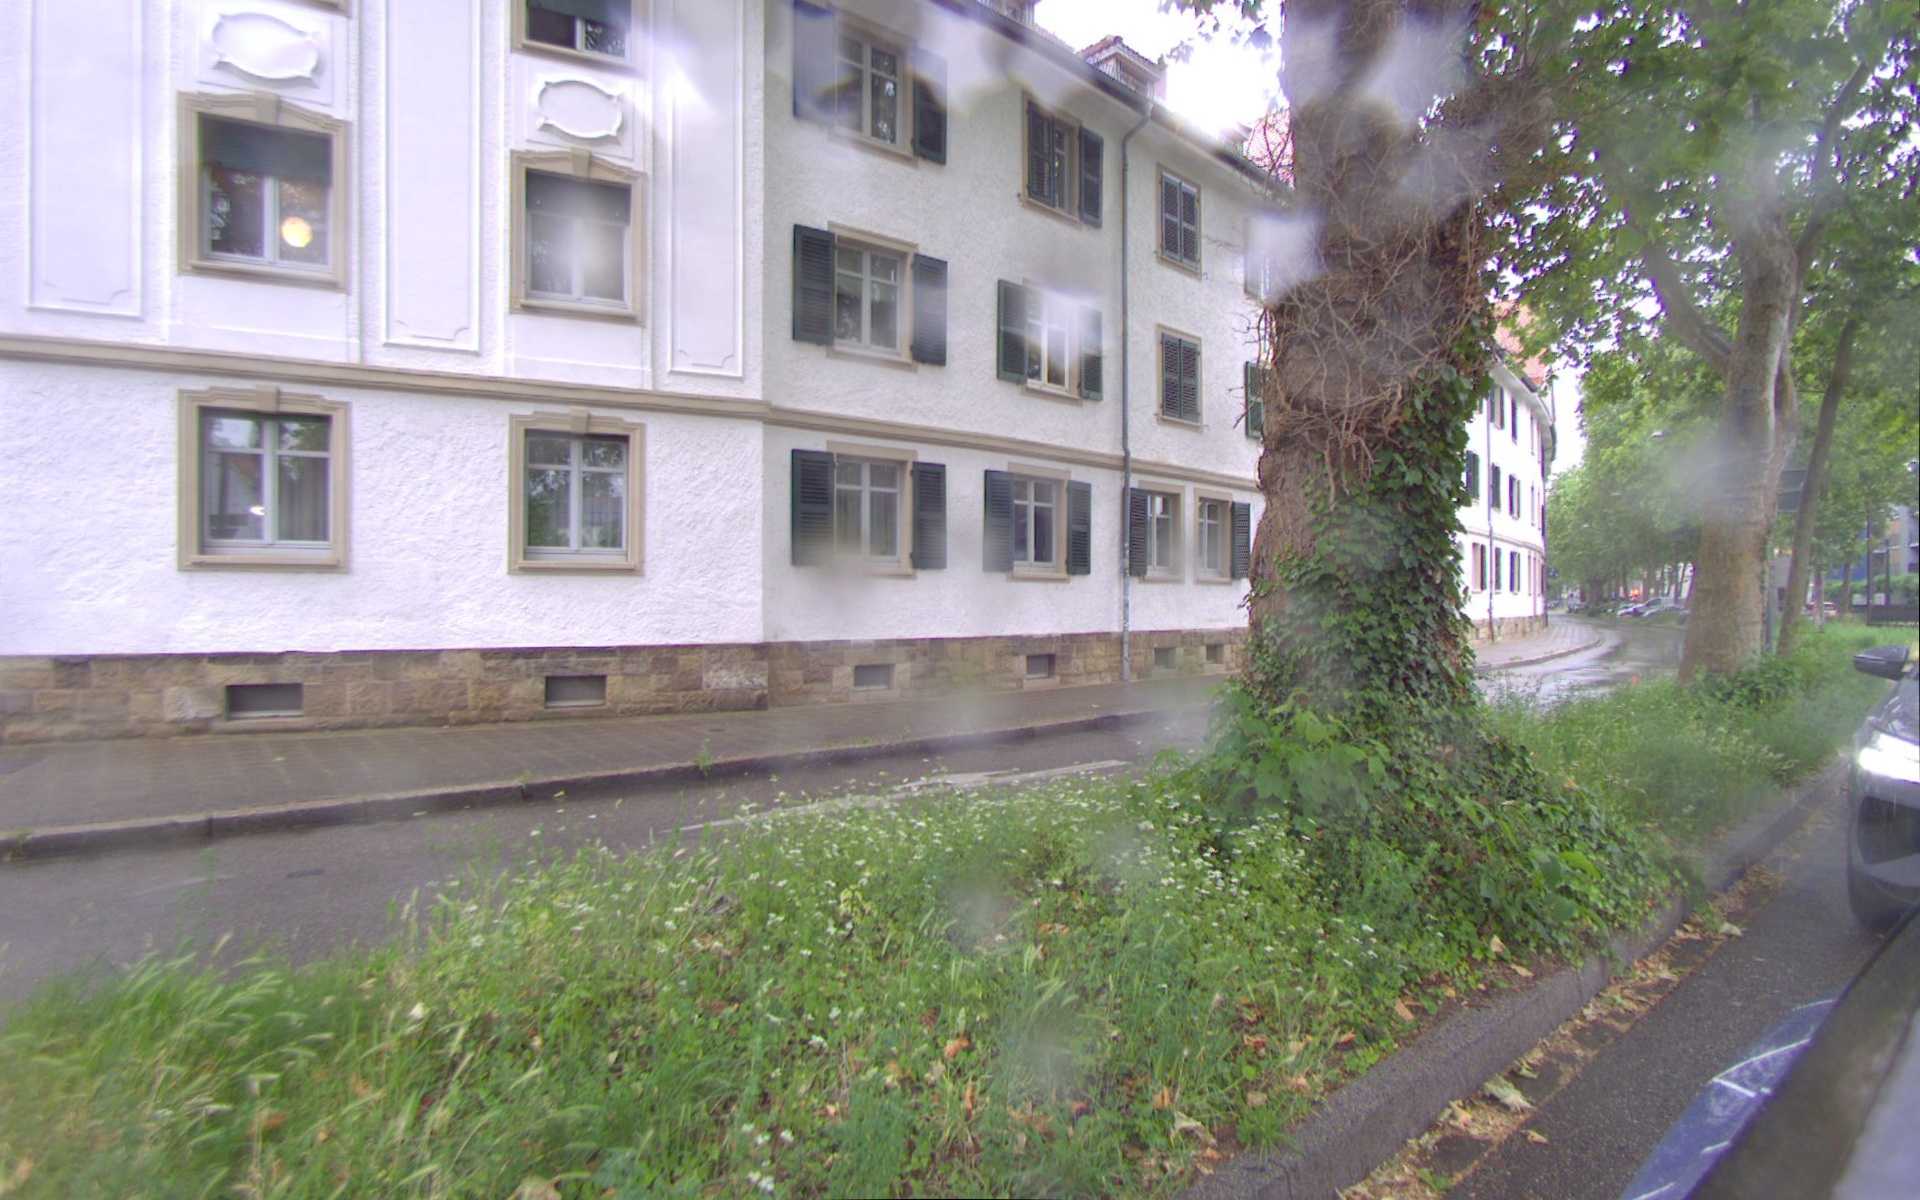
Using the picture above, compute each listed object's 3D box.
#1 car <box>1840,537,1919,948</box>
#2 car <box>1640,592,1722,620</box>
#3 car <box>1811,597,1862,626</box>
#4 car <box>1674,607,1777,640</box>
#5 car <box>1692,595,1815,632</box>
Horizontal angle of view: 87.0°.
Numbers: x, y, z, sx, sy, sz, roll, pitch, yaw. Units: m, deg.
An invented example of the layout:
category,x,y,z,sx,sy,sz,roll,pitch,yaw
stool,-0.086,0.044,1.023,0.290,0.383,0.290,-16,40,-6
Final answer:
category,x,y,z,sx,sy,sz,roll,pitch,yaw
car,5.778,0.567,4.815,4.142,1.616,1.849,0,0,-41
car,56.643,0.452,79.599,1.960,2.039,4.899,1,1,-30
car,57.745,0.727,66.725,1.677,1.745,3.656,2,1,28
car,43.602,1.319,57.733,1.715,1.632,4.335,1,1,-35
car,37.907,0.620,48.442,1.892,1.560,4.236,0,1,-30
